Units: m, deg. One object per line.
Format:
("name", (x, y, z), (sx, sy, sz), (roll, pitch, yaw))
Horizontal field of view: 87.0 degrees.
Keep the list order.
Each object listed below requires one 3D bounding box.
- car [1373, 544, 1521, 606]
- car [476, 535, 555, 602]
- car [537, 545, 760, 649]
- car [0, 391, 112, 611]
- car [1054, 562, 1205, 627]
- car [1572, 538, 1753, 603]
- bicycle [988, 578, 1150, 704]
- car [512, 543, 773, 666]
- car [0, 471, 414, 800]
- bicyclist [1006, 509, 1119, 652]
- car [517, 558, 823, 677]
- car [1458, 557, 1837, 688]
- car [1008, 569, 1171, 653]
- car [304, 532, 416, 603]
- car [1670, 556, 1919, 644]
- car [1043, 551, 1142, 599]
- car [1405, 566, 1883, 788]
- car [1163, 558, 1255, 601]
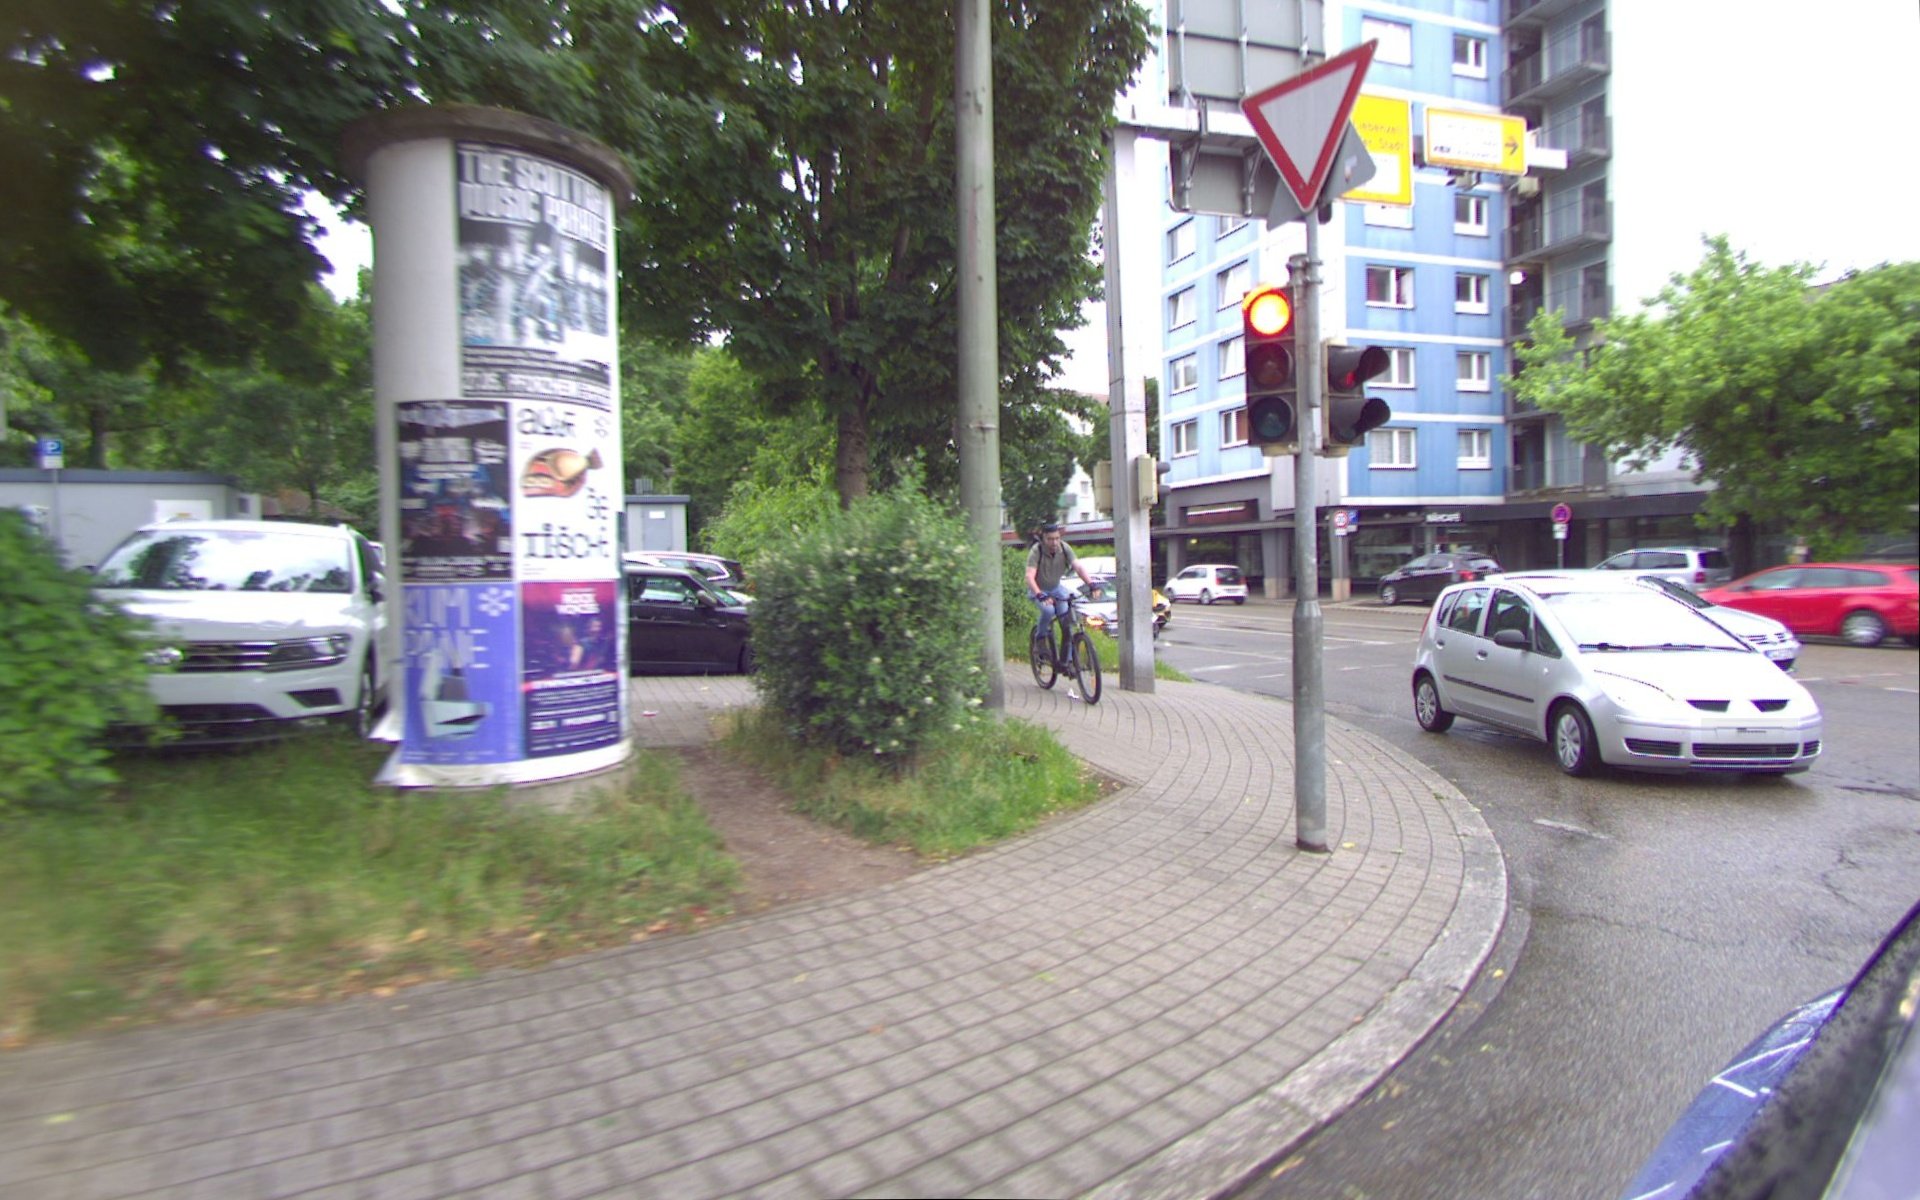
("car", (14.997, -0.837, 31.414), (1.616, 1.685, 4.197), (-3, 4, -20))
("car", (-11.832, -0.865, 27.116), (1.762, 1.629, 4.010), (0, 2, -21))
("car", (-5.469, -0.084, 17.954), (3.624, 1.717, 1.641), (0, 1, -17))
("car", (-7.308, -0.688, 6.599), (1.603, 1.501, 4.220), (1, 1, -24))
("car", (4.427, -0.229, 27.262), (1.950, 1.458, 4.593), (-5, 4, -20))
("car", (20.585, -0.937, 29.866), (1.616, 1.685, 4.197), (-3, 4, -20))
("bicycle", (1.142, 0.388, 11.197), (0.870, 1.202, 2.138), (1, 2, -21))
("car", (-4.793, 0.032, 15.509), (3.624, 1.717, 1.641), (0, 1, -17))
("car", (-5.010, 0.134, 7.243), (1.603, 1.642, 4.220), (1, 1, -24))
("bicyclist", (1.124, -0.220, 11.281), (0.870, 1.508, 0.971), (1, 2, -21))
("car", (-3.747, 0.171, 13.165), (3.624, 1.382, 1.641), (0, 1, -21))
("car", (9.016, 0.167, 13.720), (1.652, 1.442, 4.046), (-2, 3, -20))
("car", (2.659, 0.170, 21.975), (1.653, 1.523, 4.512), (-5, 2, -18))
("car", (-14.920, -0.830, 25.356), (1.762, 1.629, 4.010), (0, 2, -21))
("car", (15.945, -0.078, 18.583), (1.672, 1.441, 4.594), (-1, 3, -21))
("car", (5.195, -1.043, 40.514), (1.721, 1.789, 5.127), (-1, 2, -20))
("car", (5.583, 0.497, 8.938), (1.656, 1.523, 3.838), (-1, 1, 1))
("car", (9.297, -0.798, 38.024), (1.672, 1.502, 3.450), (-1, 2, -20))
